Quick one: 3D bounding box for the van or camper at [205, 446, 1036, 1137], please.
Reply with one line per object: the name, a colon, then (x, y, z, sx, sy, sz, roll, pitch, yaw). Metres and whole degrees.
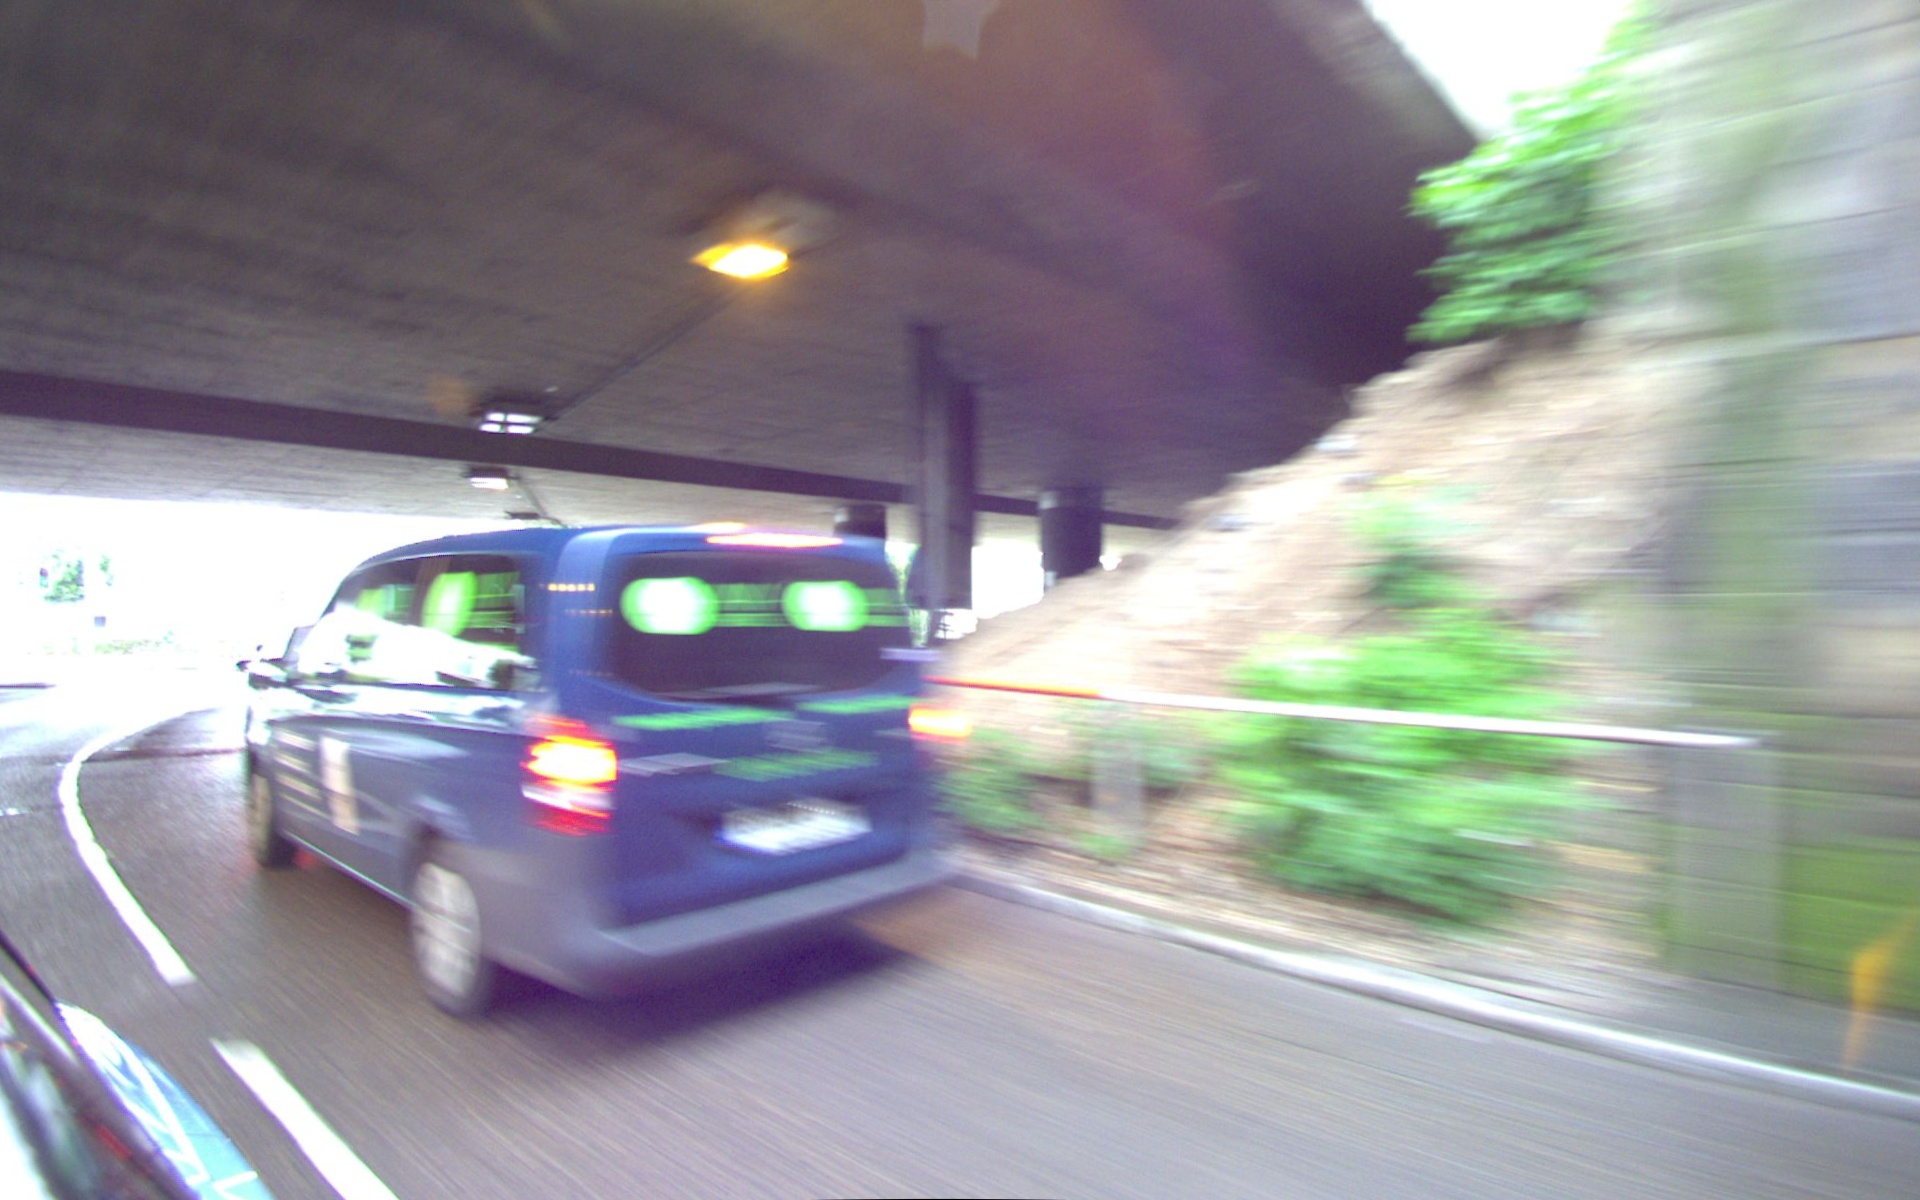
van or camper: (-2.210, 0.567, 5.284, 5.141, 1.882, 1.971, -1, -2, 44)

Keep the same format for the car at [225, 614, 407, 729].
car: (-10.161, 1.013, 16.309, 1.965, 1.541, 4.515, -1, -1, -26)

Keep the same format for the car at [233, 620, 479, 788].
car: (-6.844, 0.983, 11.250, 1.967, 1.476, 4.115, 2, -2, -36)

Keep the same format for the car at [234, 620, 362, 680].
car: (-18.698, 1.443, 28.799, 1.680, 1.569, 4.009, 0, -3, -12)
